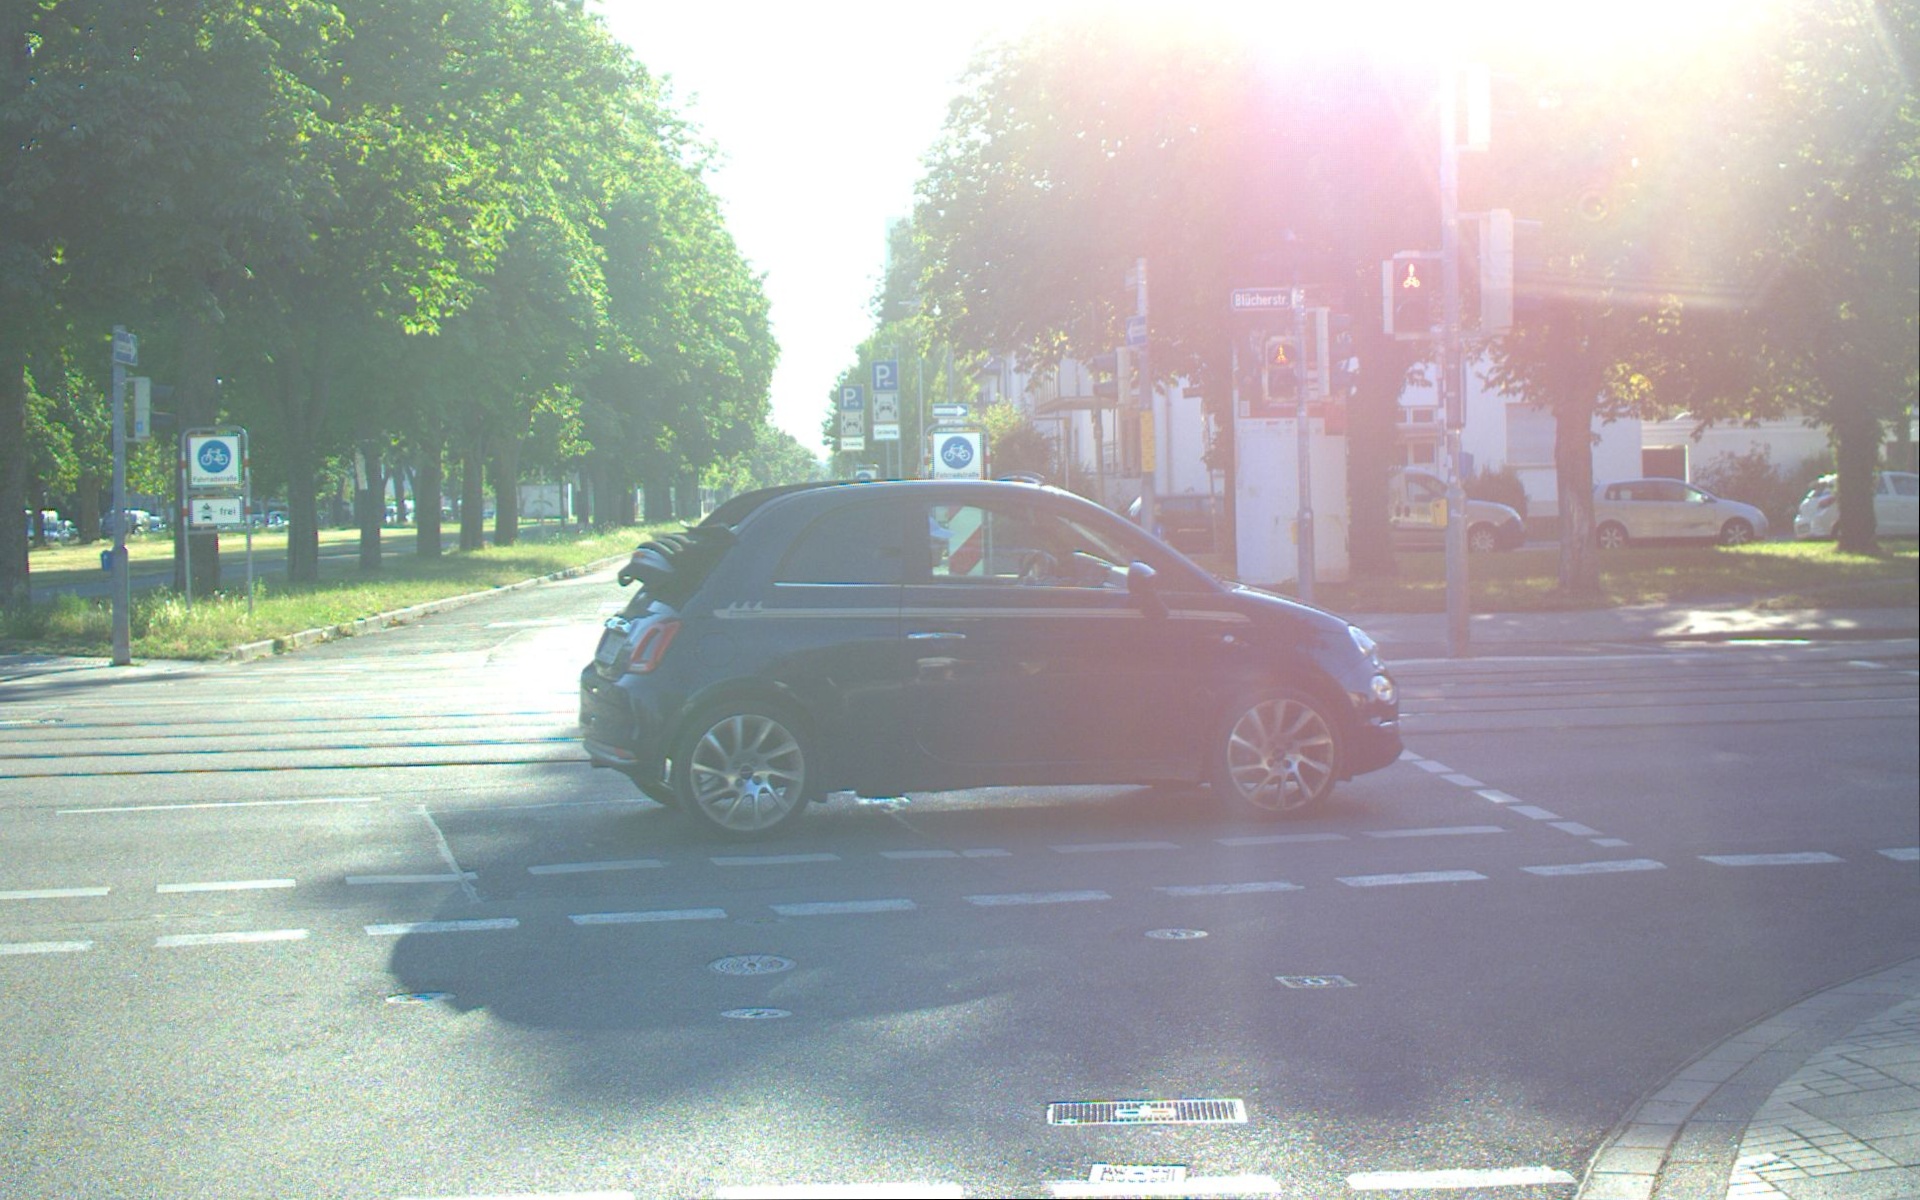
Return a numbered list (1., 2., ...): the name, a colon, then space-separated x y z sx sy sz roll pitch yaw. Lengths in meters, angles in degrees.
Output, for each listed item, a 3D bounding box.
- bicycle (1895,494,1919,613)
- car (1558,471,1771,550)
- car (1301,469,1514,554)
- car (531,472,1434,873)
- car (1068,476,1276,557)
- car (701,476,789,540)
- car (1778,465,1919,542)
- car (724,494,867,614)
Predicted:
1. bicycle: 10.074 -0.473 33.110 1.954 1.128 0.620 -1 2 0
2. car: 13.407 -1.703 65.507 3.662 1.422 1.532 -1 2 -6
3. car: 8.503 -1.695 65.560 3.779 1.520 1.744 -1 3 -2
4. car: 0.056 0.247 14.946 3.595 1.492 1.613 -2 2 -14
5. car: 3.996 -1.593 65.233 3.779 1.422 1.744 -1 3 -2
6. car: -4.871 -2.109 78.221 1.845 1.389 3.829 0 2 -1
7. car: 17.908 -1.874 66.279 3.844 1.422 1.598 -1 2 -6
8. car: -2.078 -0.618 44.133 1.641 1.446 3.307 -1 2 0
